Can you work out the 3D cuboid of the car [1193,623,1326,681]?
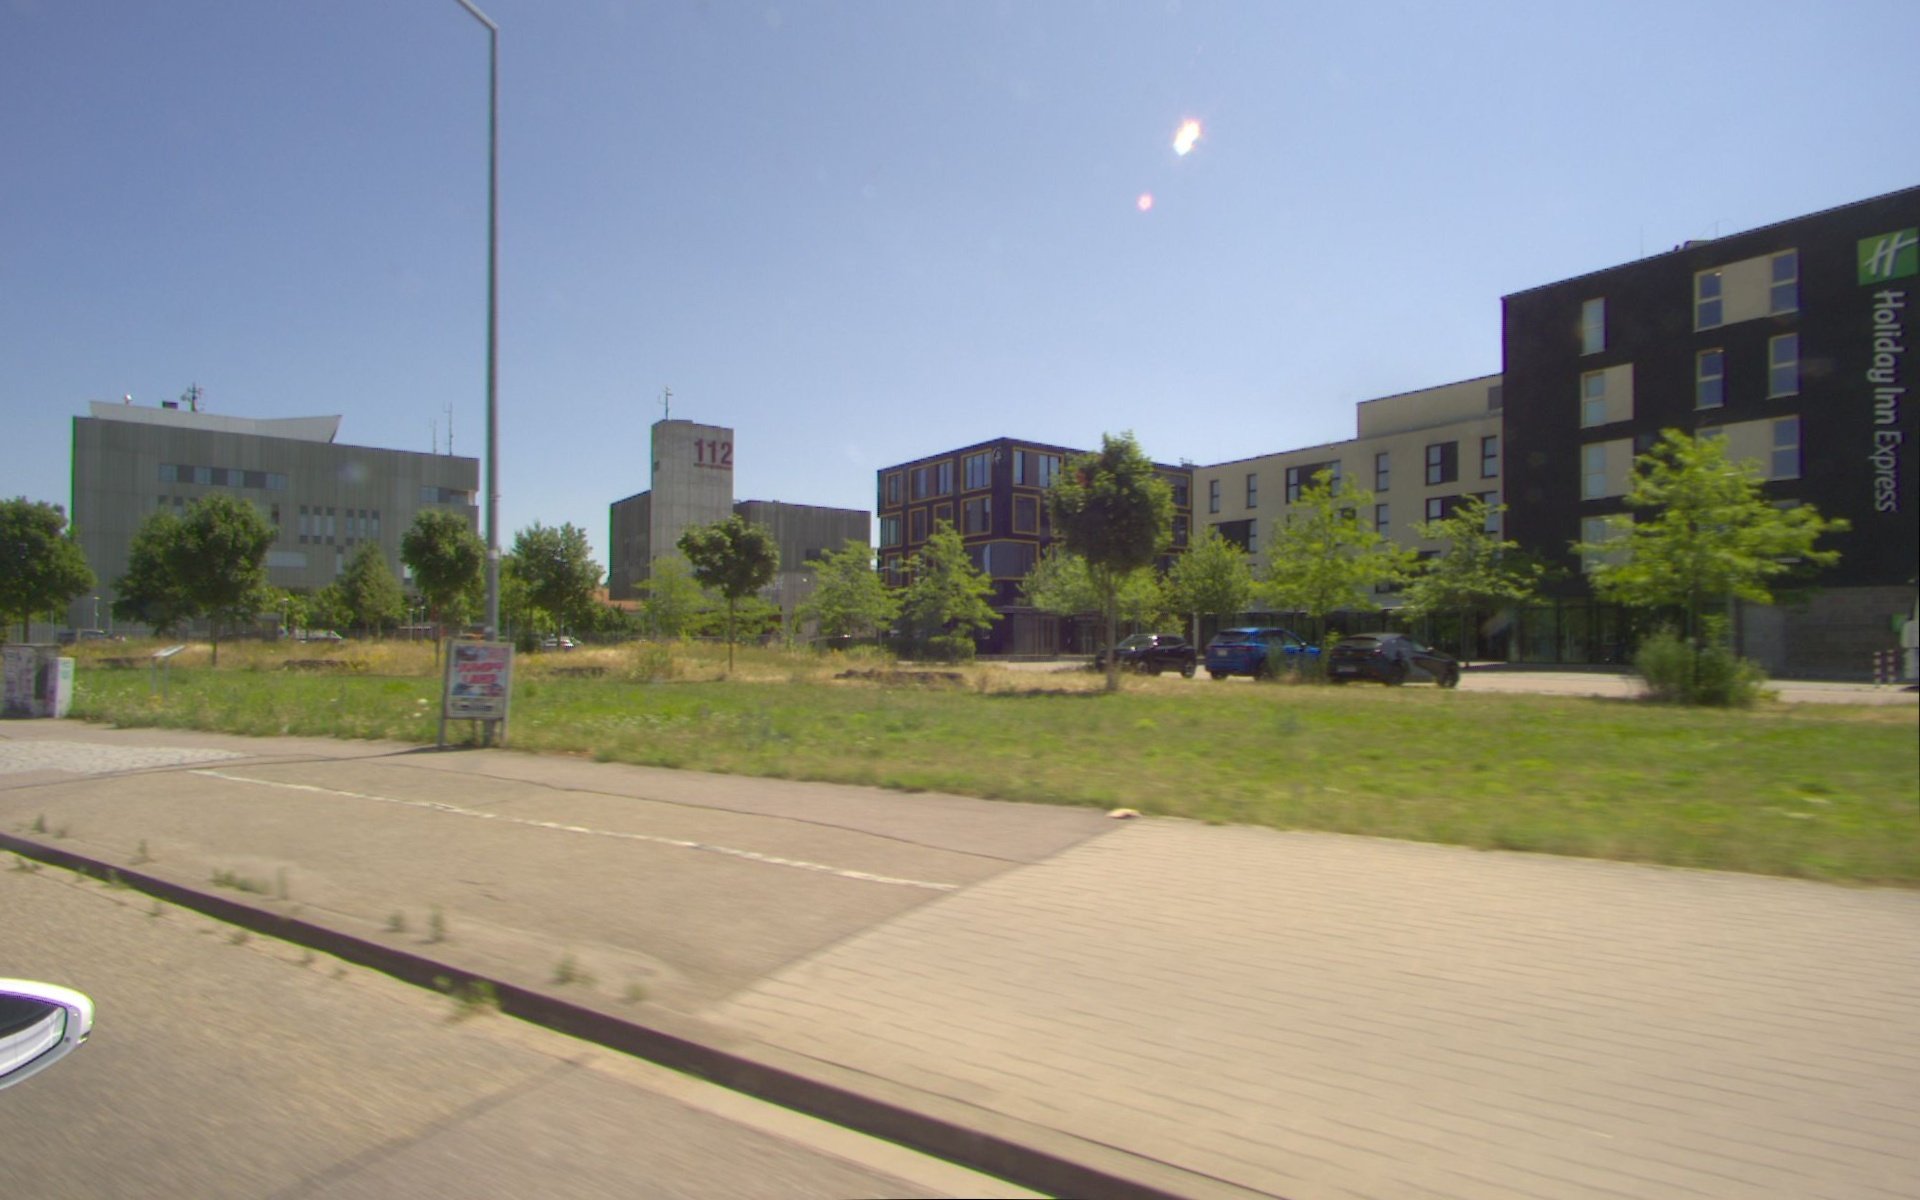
[{"bbox_3d":[9.209,1.568,30.672,4.023,1.673,1.940,2,-2,-37],"label":"car"}]

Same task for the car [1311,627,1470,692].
[{"bbox_3d":[11.494,1.547,26.621,4.456,1.581,2.017,2,-2,-38],"label":"car"}]

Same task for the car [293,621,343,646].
[{"bbox_3d":[-59.764,3.129,93.269,3.808,2.323,1.730,2,-2,-36],"label":"car"}]

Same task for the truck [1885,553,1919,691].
[{"bbox_3d":[28.641,0.408,21.848,2.979,3.506,12.061,-1,-1,-34],"label":"truck"}]

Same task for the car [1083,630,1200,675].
[{"bbox_3d":[6.327,1.786,34.700,4.085,1.463,1.944,2,-3,-43],"label":"car"}]
